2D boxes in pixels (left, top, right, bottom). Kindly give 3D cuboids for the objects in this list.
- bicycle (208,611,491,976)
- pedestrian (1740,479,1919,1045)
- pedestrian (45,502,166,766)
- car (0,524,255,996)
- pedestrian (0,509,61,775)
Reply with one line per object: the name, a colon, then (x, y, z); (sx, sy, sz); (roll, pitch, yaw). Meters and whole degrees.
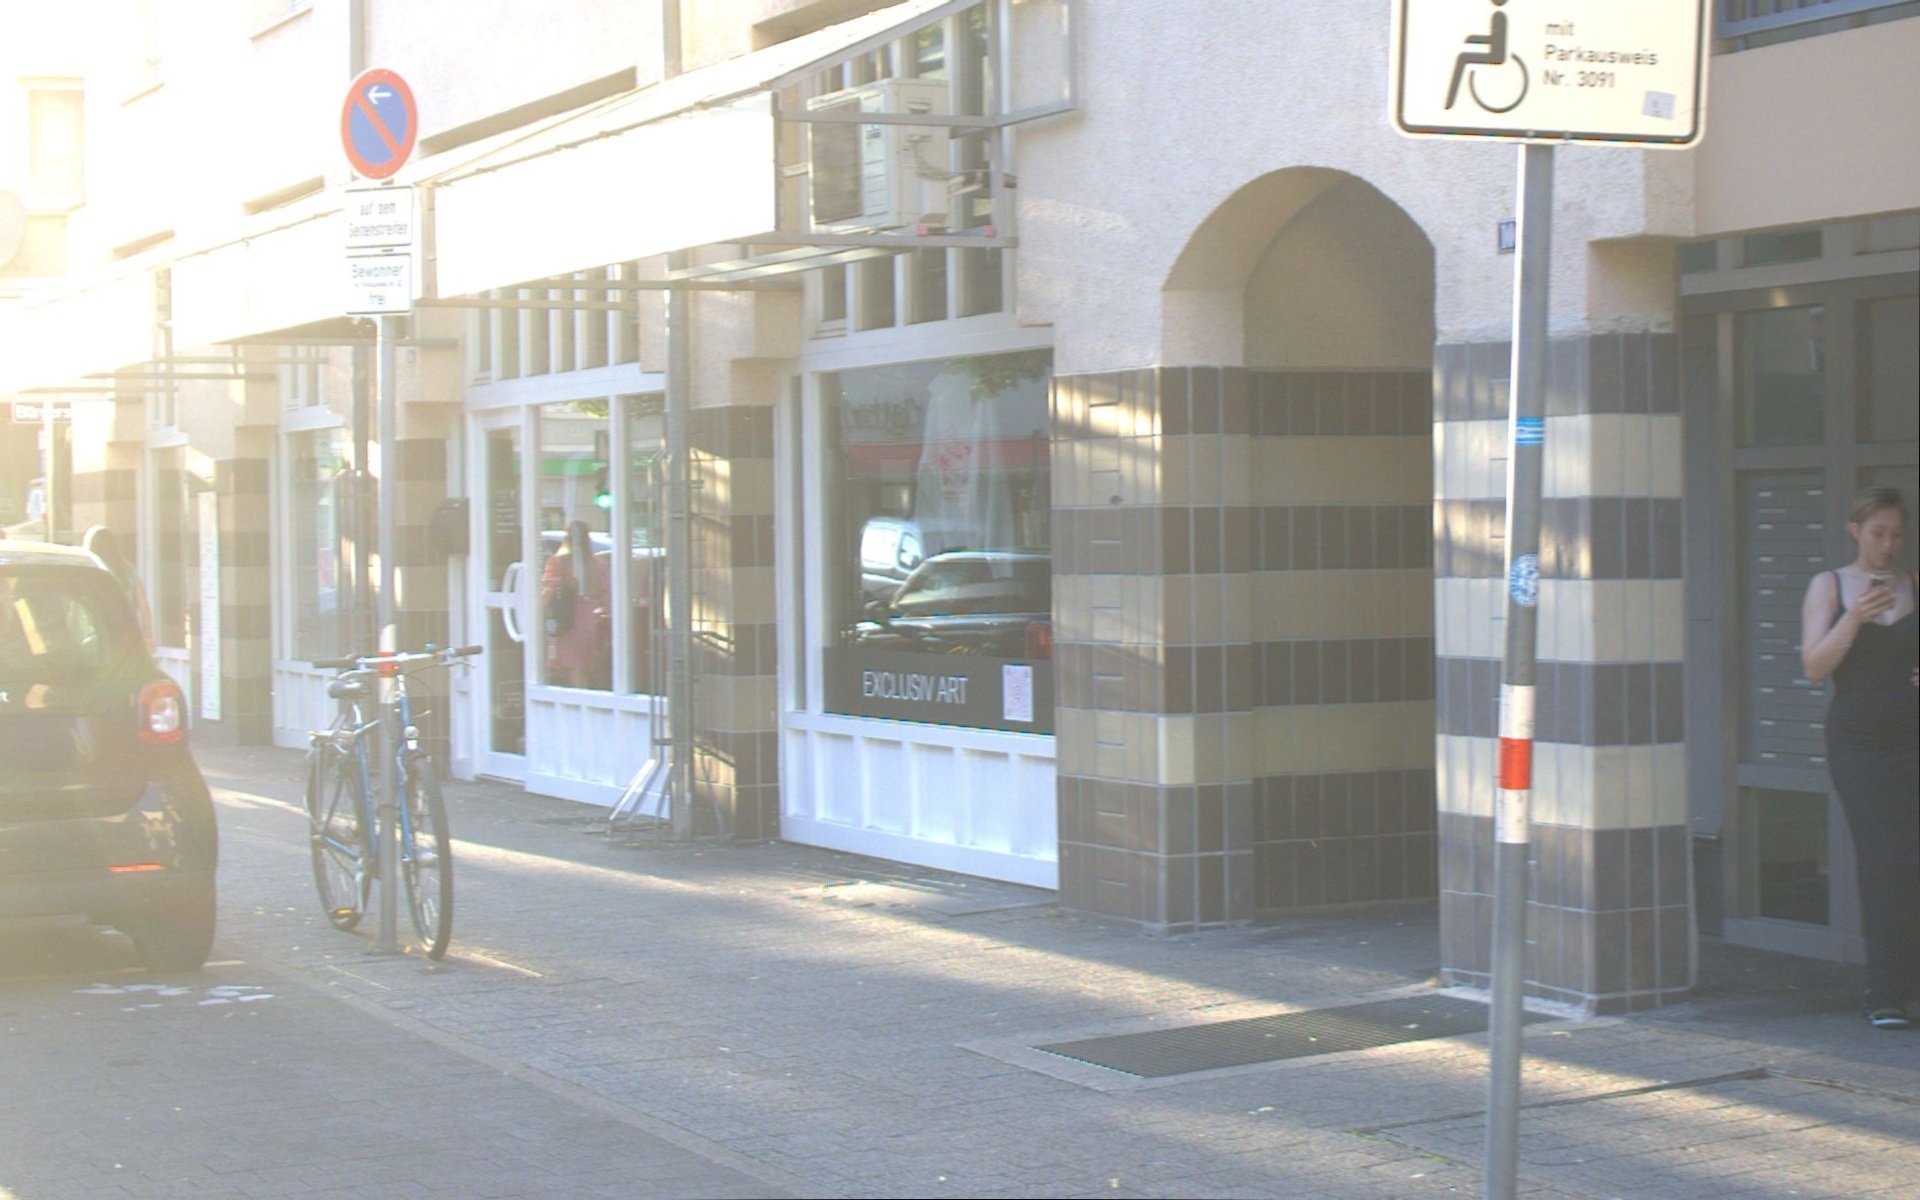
bicycle: (-2.313, 0.670, 12.845); (0.558, 1.202, 1.978); (-1, 2, -24)
pedestrian: (2.672, 0.442, 9.800); (0.776, 1.567, 0.534); (0, 1, 1)
pedestrian: (-5.627, 0.210, 22.620); (0.559, 1.694, 0.832); (-2, 2, -27)
car: (-4.196, 0.505, 13.241); (1.789, 1.575, 3.967); (-1, 2, -29)
pedestrian: (-6.336, 0.263, 22.491); (0.630, 1.694, 1.040); (-2, 2, -27)
